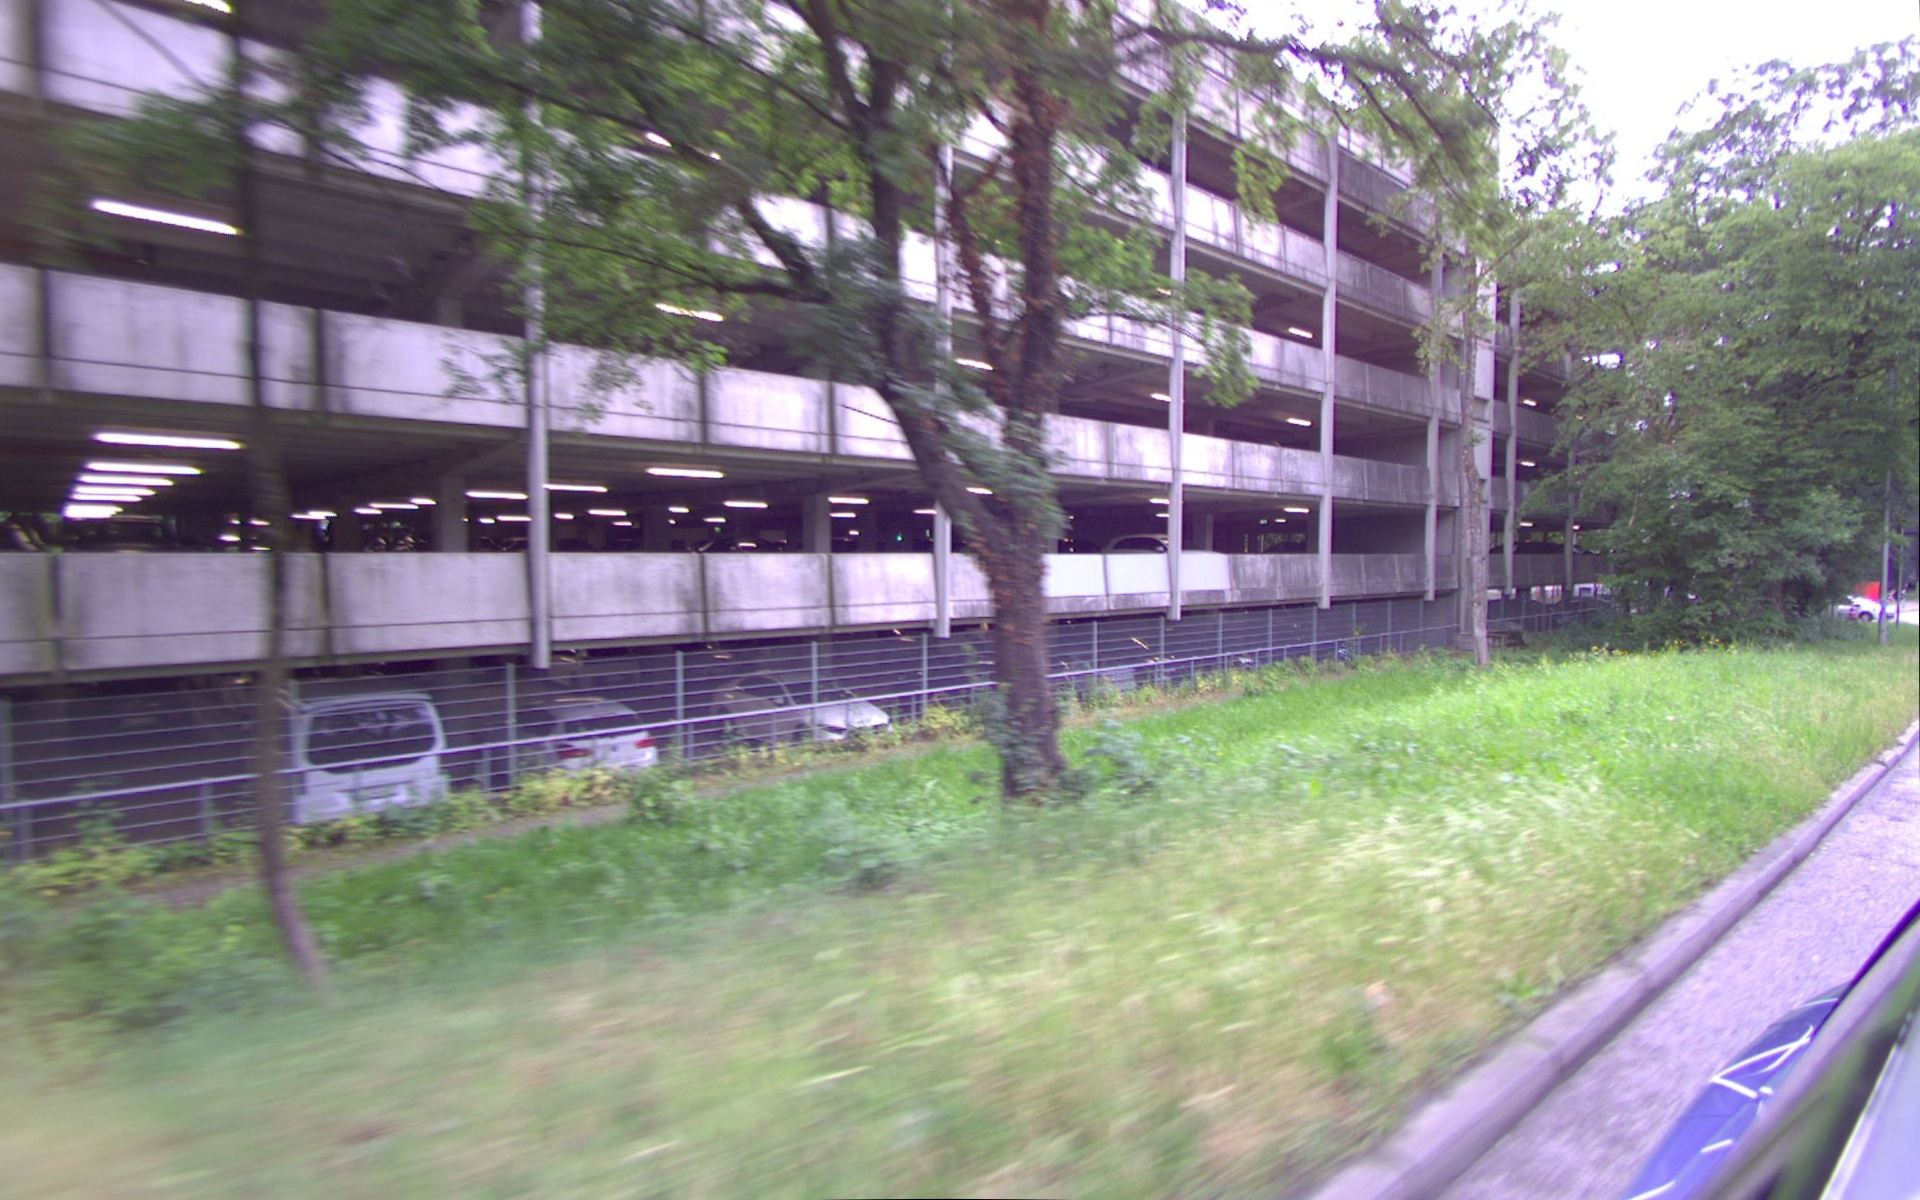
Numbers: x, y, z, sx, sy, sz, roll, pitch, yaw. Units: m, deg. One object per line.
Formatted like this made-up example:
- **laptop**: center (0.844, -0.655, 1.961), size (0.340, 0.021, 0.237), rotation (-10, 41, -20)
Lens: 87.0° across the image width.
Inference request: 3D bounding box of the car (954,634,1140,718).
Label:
- **car**: center (2.090, 1.824, 25.542), size (1.916, 1.525, 4.596), rotation (-2, 3, -43)

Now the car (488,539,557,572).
- **car**: center (-20.615, -2.071, 47.647), size (1.830, 1.444, 3.762), rotation (-4, 4, -42)

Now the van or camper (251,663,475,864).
- **van or camper**: center (-8.533, 2.113, 14.319), size (1.810, 1.977, 4.008), rotation (-3, 4, -44)

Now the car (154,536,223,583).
- **car**: center (-29.619, -1.541, 38.786), size (1.829, 1.661, 4.186), rotation (-4, 4, -40)

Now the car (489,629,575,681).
- **car**: center (-13.311, 1.666, 31.410), size (1.419, 1.349, 3.128), rotation (-3, 2, -44)

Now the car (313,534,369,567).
- **car**: center (-32.060, -2.532, 52.367), size (1.829, 1.610, 4.186), rotation (-4, 4, -40)

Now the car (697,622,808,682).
- **car**: center (-6.484, 1.557, 31.459), size (1.647, 1.458, 3.665), rotation (-3, 4, -45)

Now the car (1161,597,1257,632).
- **car**: center (11.670, 0.646, 47.620), size (1.796, 1.433, 4.062), rotation (-2, 3, -44)

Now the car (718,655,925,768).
- **car**: center (-2.826, 2.093, 20.041), size (1.918, 1.524, 4.258), rotation (-3, 4, -44)

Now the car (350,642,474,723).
- **car**: center (-13.222, 1.909, 24.346), size (1.647, 1.458, 3.665), rotation (-3, 4, -45)

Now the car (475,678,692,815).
- **car**: center (-6.327, 2.294, 16.792), size (1.918, 1.454, 4.008), rotation (-3, 4, -44)

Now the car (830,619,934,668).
- **car**: center (-2.730, 1.455, 34.904), size (1.646, 1.299, 3.666), rotation (-3, 4, -44)

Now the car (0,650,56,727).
- **car**: center (-22.076, 2.024, 23.303), size (1.759, 1.322, 3.697), rotation (-4, 5, -43)

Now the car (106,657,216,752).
- **car**: center (-16.703, 2.098, 21.138), size (1.644, 1.373, 3.671), rotation (-2, 4, -39)

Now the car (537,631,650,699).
- **car**: center (-10.154, 1.730, 27.947), size (1.645, 1.458, 3.667), rotation (-2, 4, -42)

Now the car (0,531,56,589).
- **car**: center (-33.039, -1.405, 35.462), size (1.829, 1.908, 4.186), rotation (-4, 4, -40)

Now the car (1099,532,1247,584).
- **car**: center (5.936, -1.194, 28.526), size (1.800, 1.360, 3.842), rotation (-2, 3, -39)

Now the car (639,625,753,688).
- **car**: center (-7.838, 1.614, 29.898), size (1.647, 1.458, 3.665), rotation (-3, 4, -45)

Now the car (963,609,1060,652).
- **car**: center (1.978, 1.148, 39.617), size (1.646, 1.367, 3.666), rotation (-3, 4, -44)

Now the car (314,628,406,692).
- **car**: center (-16.903, 1.627, 28.422), size (1.756, 1.322, 3.703), rotation (-3, 4, -38)

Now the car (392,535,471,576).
- **car**: center (-20.679, -1.748, 39.554), size (1.830, 1.502, 3.762), rotation (-4, 4, -42)

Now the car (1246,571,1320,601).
- **car**: center (20.268, -0.910, 63.667), size (1.968, 1.748, 3.990), rotation (-5, 4, -44)

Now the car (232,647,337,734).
- **car**: center (-15.613, 2.009, 23.336), size (1.644, 1.458, 3.671), rotation (-2, 4, -39)

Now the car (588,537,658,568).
- **car**: center (-16.807, -2.345, 50.404), size (1.829, 1.444, 4.186), rotation (-4, 4, -40)

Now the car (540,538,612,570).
- **car**: center (-18.449, -2.187, 48.538), size (1.830, 1.444, 4.184), rotation (-4, 4, -42)

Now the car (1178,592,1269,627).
- **car**: center (13.056, 0.440, 50.219), size (1.796, 1.506, 4.062), rotation (-2, 3, -44)

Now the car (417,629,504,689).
- **car**: center (-14.783, 1.674, 29.858), size (1.573, 1.322, 3.703), rotation (-3, 4, -38)

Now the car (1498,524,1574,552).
- **car**: center (27.481, -2.935, 48.327), size (1.334, 1.261, 2.891), rotation (-4, 4, -43)

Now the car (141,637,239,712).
- **car**: center (-19.828, 1.847, 25.996), size (1.694, 1.440, 3.698), rotation (-3, 4, -41)

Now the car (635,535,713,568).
- **car**: center (-13.141, -2.211, 46.348), size (1.829, 1.444, 4.186), rotation (-4, 4, -40)

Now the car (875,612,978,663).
- **car**: center (-1.240, 1.291, 36.101), size (1.646, 1.497, 3.666), rotation (-3, 4, -44)

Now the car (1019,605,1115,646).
- **car**: center (4.289, 1.001, 40.916), size (1.646, 1.367, 3.666), rotation (-3, 4, -44)

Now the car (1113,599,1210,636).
- **car**: center (9.170, 0.747, 46.270), size (1.796, 1.470, 4.062), rotation (-2, 3, -44)

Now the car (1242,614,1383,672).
- **car**: center (11.528, 1.362, 33.297), size (1.833, 1.551, 3.990), rotation (-2, 3, -44)

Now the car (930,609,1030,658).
- **car**: center (0.718, 1.203, 37.838), size (1.646, 1.500, 3.666), rotation (-3, 4, -44)

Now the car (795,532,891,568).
- **car**: center (-4.673, -1.963, 40.095), size (1.652, 1.343, 3.990), rotation (-5, 4, -44)
